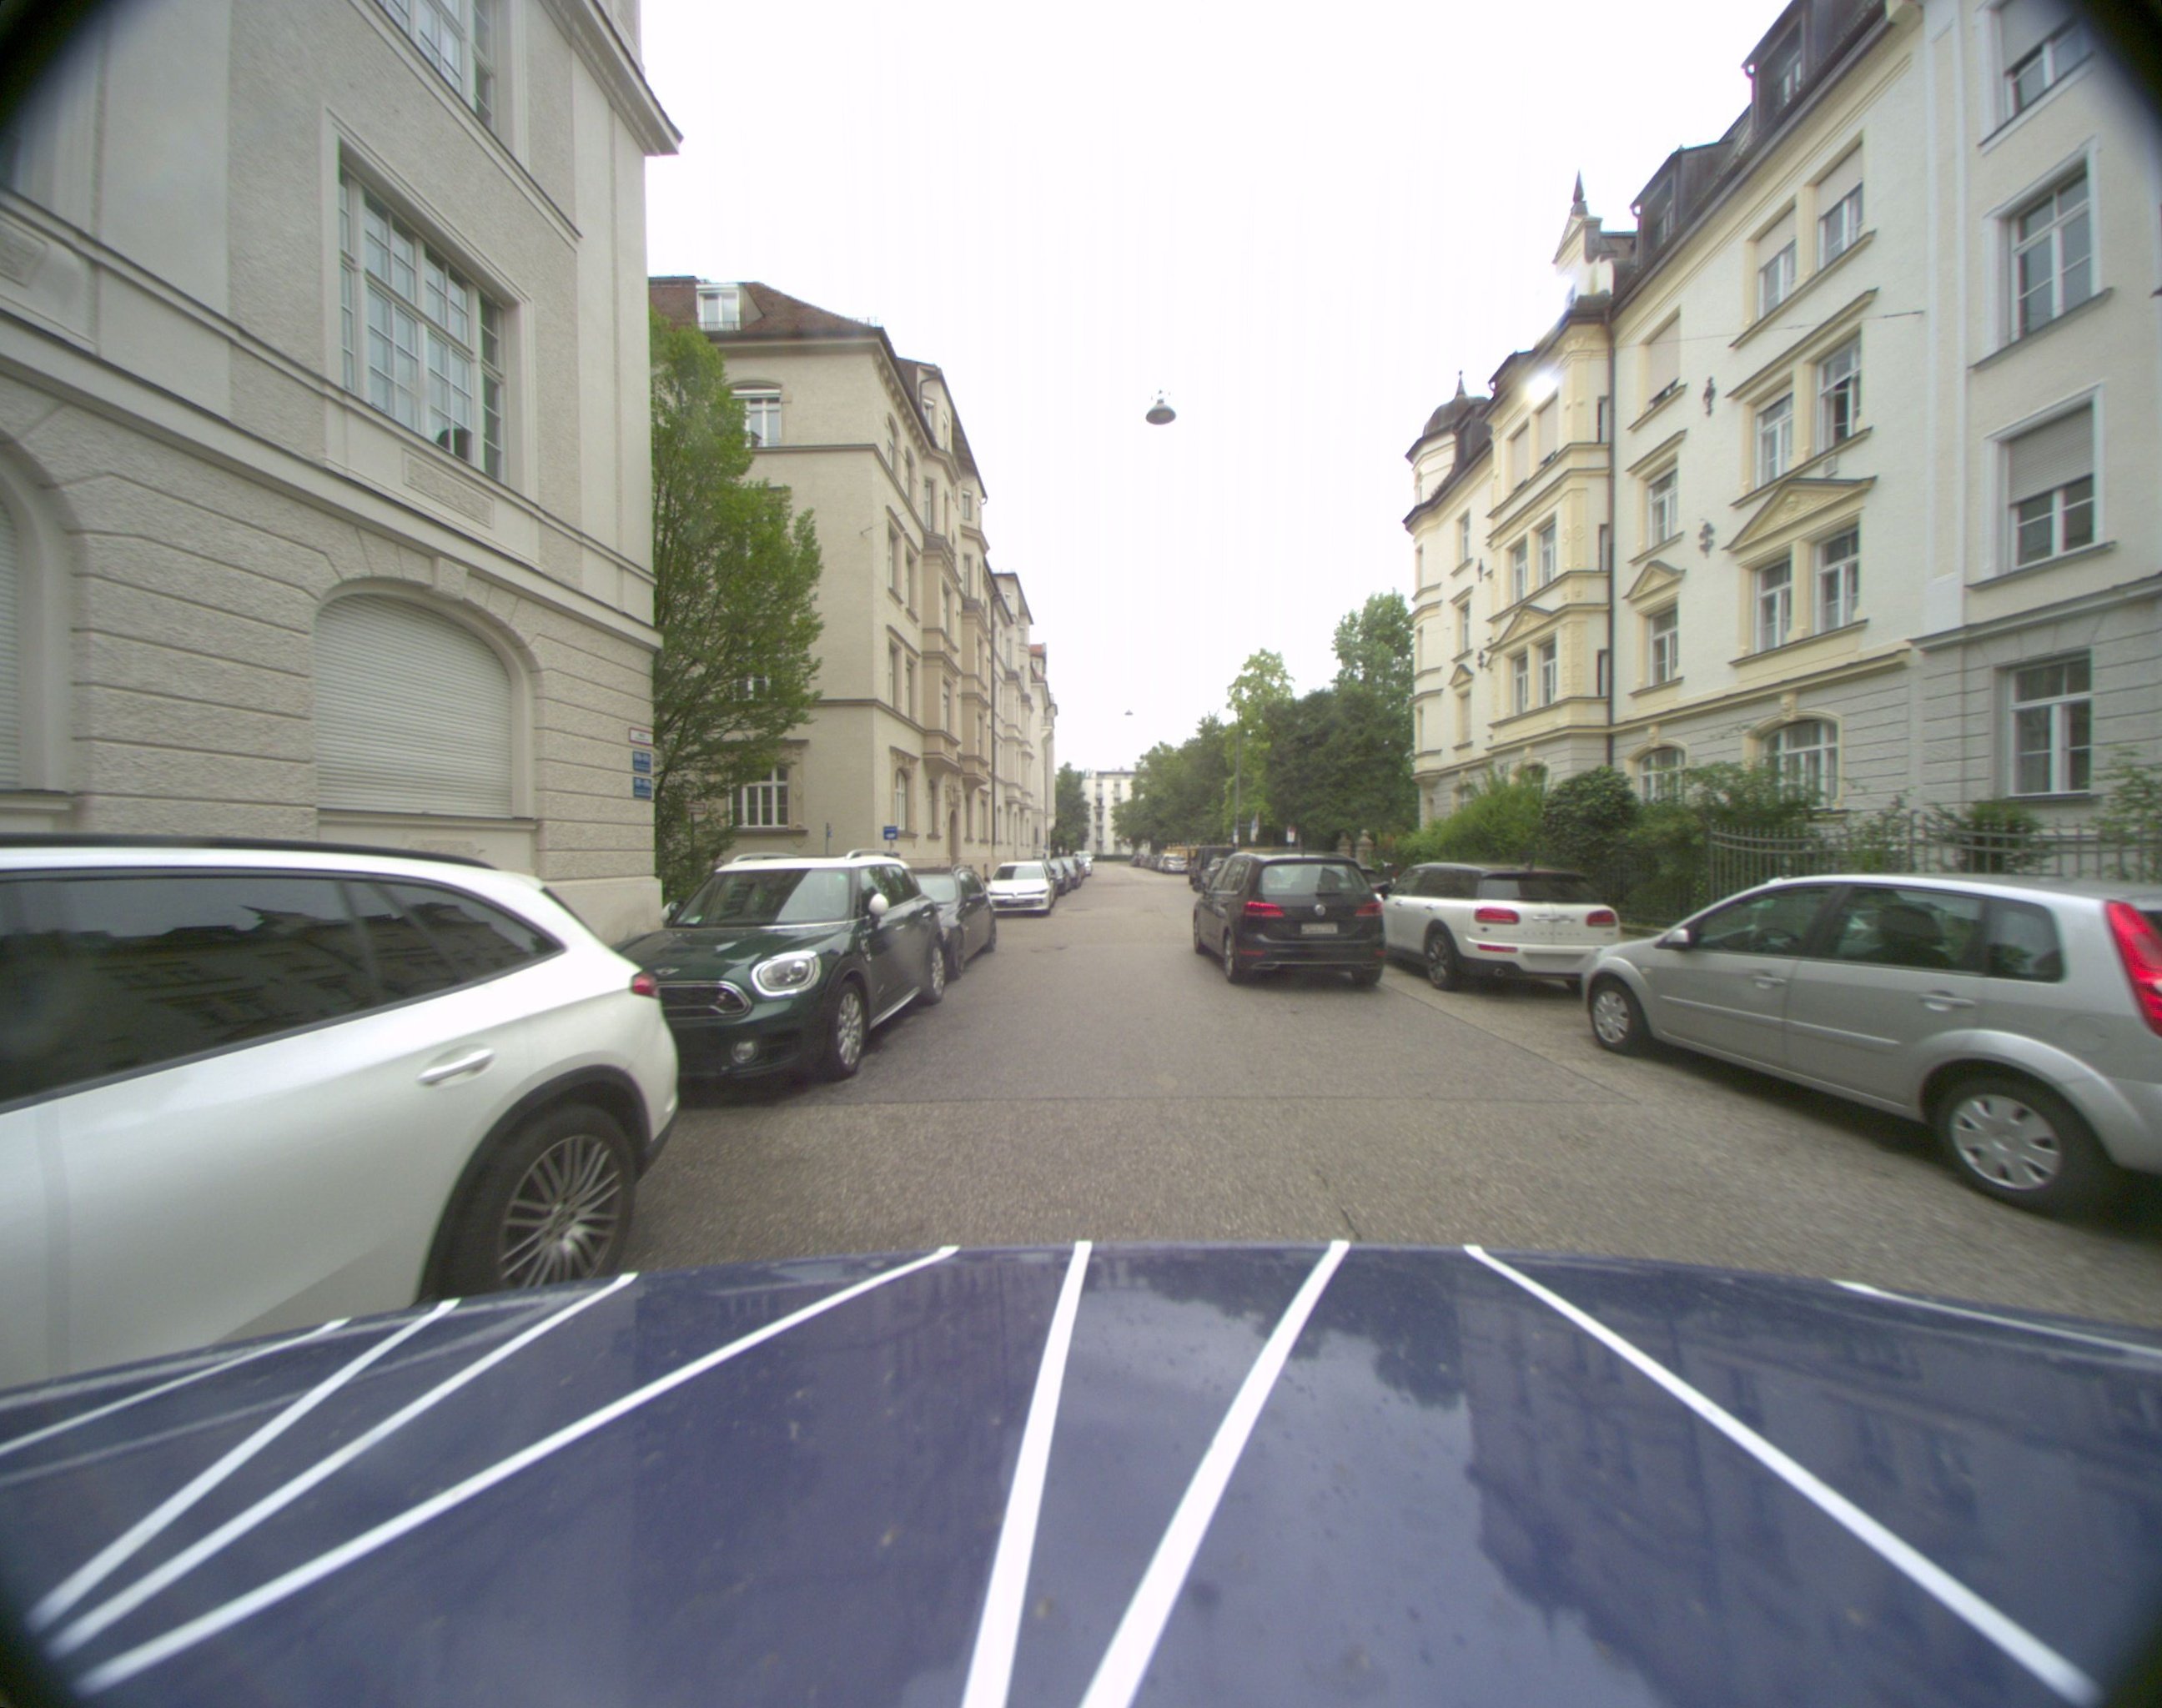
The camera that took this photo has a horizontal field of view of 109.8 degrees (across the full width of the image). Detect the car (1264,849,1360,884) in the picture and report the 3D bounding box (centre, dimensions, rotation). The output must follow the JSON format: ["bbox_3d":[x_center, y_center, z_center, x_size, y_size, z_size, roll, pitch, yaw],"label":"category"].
[{"bbox_3d":[12.484,0.642,41.213,4.519,1.847,2.054,0,0,-4],"label":"car"}]

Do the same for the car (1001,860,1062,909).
[{"bbox_3d":[-1.640,1.001,26.484,1.796,1.489,4.082,-3,0,0],"label":"car"}]

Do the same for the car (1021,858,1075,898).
[{"bbox_3d":[-1.299,0.943,31.258,1.746,1.390,4.022,-3,1,4],"label":"car"}]

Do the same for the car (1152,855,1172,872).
[{"bbox_3d":[7.962,0.899,75.137,1.653,1.552,3.930,1,0,1],"label":"car"}]

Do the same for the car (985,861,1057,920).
[{"bbox_3d":[-1.613,0.963,21.745,1.667,1.499,4.065,-1,0,1],"label":"car"}]

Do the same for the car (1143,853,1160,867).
[{"bbox_3d":[8.253,0.655,88.940,1.653,1.552,3.930,1,0,1],"label":"car"}]

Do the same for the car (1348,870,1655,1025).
[{"bbox_3d":[4.934,0.983,9.671,1.801,1.426,4.080,-1,1,3],"label":"car"}]

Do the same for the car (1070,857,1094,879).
[{"bbox_3d":[0.077,1.006,56.739,1.715,1.462,4.085,-2,0,0],"label":"car"}]

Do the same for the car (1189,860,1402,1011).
[{"bbox_3d":[2.544,0.875,10.045,1.728,1.525,4.086,1,0,1],"label":"car"}]

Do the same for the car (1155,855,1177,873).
[{"bbox_3d":[7.819,0.913,70.063,1.653,1.552,3.930,1,0,1],"label":"car"}]

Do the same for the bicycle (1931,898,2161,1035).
[{"bbox_3d":[9.077,1.006,7.215,0.432,1.055,1.420,-4,0,4],"label":"bicycle"}]

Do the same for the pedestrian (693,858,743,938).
[{"bbox_3d":[-7.771,0.925,16.256,0.855,1.647,0.865,1,-3,-31],"label":"pedestrian"}]

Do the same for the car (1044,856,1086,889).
[{"bbox_3d":[-0.713,0.848,36.533,1.645,1.409,4.001,-1,0,4],"label":"car"}]

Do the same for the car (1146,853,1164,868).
[{"bbox_3d":[8.158,0.687,84.164,1.653,1.552,3.930,1,0,1],"label":"car"}]

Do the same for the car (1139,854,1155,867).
[{"bbox_3d":[8.126,0.740,93.528,1.653,1.552,3.930,1,0,1],"label":"car"}]

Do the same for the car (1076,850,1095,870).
[{"bbox_3d":[0.479,0.556,75.982,1.794,1.926,4.085,-2,0,0],"label":"car"}]

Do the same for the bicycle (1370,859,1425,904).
[{"bbox_3d":[9.663,0.809,23.301,0.757,1.289,2.531,1,0,4],"label":"bicycle"}]

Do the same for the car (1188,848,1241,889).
[{"bbox_3d":[6.440,0.641,37.041,1.916,1.876,4.817,1,1,3],"label":"car"}]

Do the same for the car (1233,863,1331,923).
[{"bbox_3d":[5.591,1.035,21.627,1.773,1.412,3.999,0,1,0],"label":"car"}]

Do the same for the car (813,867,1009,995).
[{"bbox_3d":[-2.227,0.959,11.147,1.715,1.443,4.225,-1,0,3],"label":"car"}]

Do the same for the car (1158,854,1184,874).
[{"bbox_3d":[7.651,0.811,64.829,1.704,1.552,3.930,-3,0,1],"label":"car"}]

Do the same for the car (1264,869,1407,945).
[{"bbox_3d":[5.456,1.070,16.852,1.739,1.357,4.193,1,0,0],"label":"car"}]

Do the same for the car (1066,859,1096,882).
[{"bbox_3d":[0.033,1.069,50.895,1.714,1.382,4.001,-2,0,3],"label":"car"}]

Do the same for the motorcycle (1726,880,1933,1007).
[{"bbox_3d":[8.770,0.987,9.028,0.706,1.242,1.821,-2,1,2],"label":"motorcycle"}]

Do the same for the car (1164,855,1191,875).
[{"bbox_3d":[7.555,0.857,59.780,1.704,1.483,3.956,1,0,1],"label":"car"}]

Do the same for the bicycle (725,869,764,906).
[{"bbox_3d":[-8.972,0.887,20.295,0.453,0.903,1.130,1,1,5],"label":"bicycle"}]

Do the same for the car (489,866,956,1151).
[{"bbox_3d":[-2.428,0.939,6.478,1.752,1.516,4.171,-2,0,3],"label":"car"}]

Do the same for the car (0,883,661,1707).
[{"bbox_3d":[-2.777,0.915,0.893,1.900,1.626,4.393,0,-1,4],"label":"car"}]

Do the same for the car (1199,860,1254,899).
[{"bbox_3d":[6.076,1.027,32.121,1.646,1.422,3.919,2,0,2],"label":"car"}]

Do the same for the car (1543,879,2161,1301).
[{"bbox_3d":[4.808,0.951,4.540,1.649,1.395,4.000,2,0,0],"label":"car"}]

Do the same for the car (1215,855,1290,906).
[{"bbox_3d":[5.992,0.863,27.041,1.810,1.638,4.486,1,0,2],"label":"car"}]
